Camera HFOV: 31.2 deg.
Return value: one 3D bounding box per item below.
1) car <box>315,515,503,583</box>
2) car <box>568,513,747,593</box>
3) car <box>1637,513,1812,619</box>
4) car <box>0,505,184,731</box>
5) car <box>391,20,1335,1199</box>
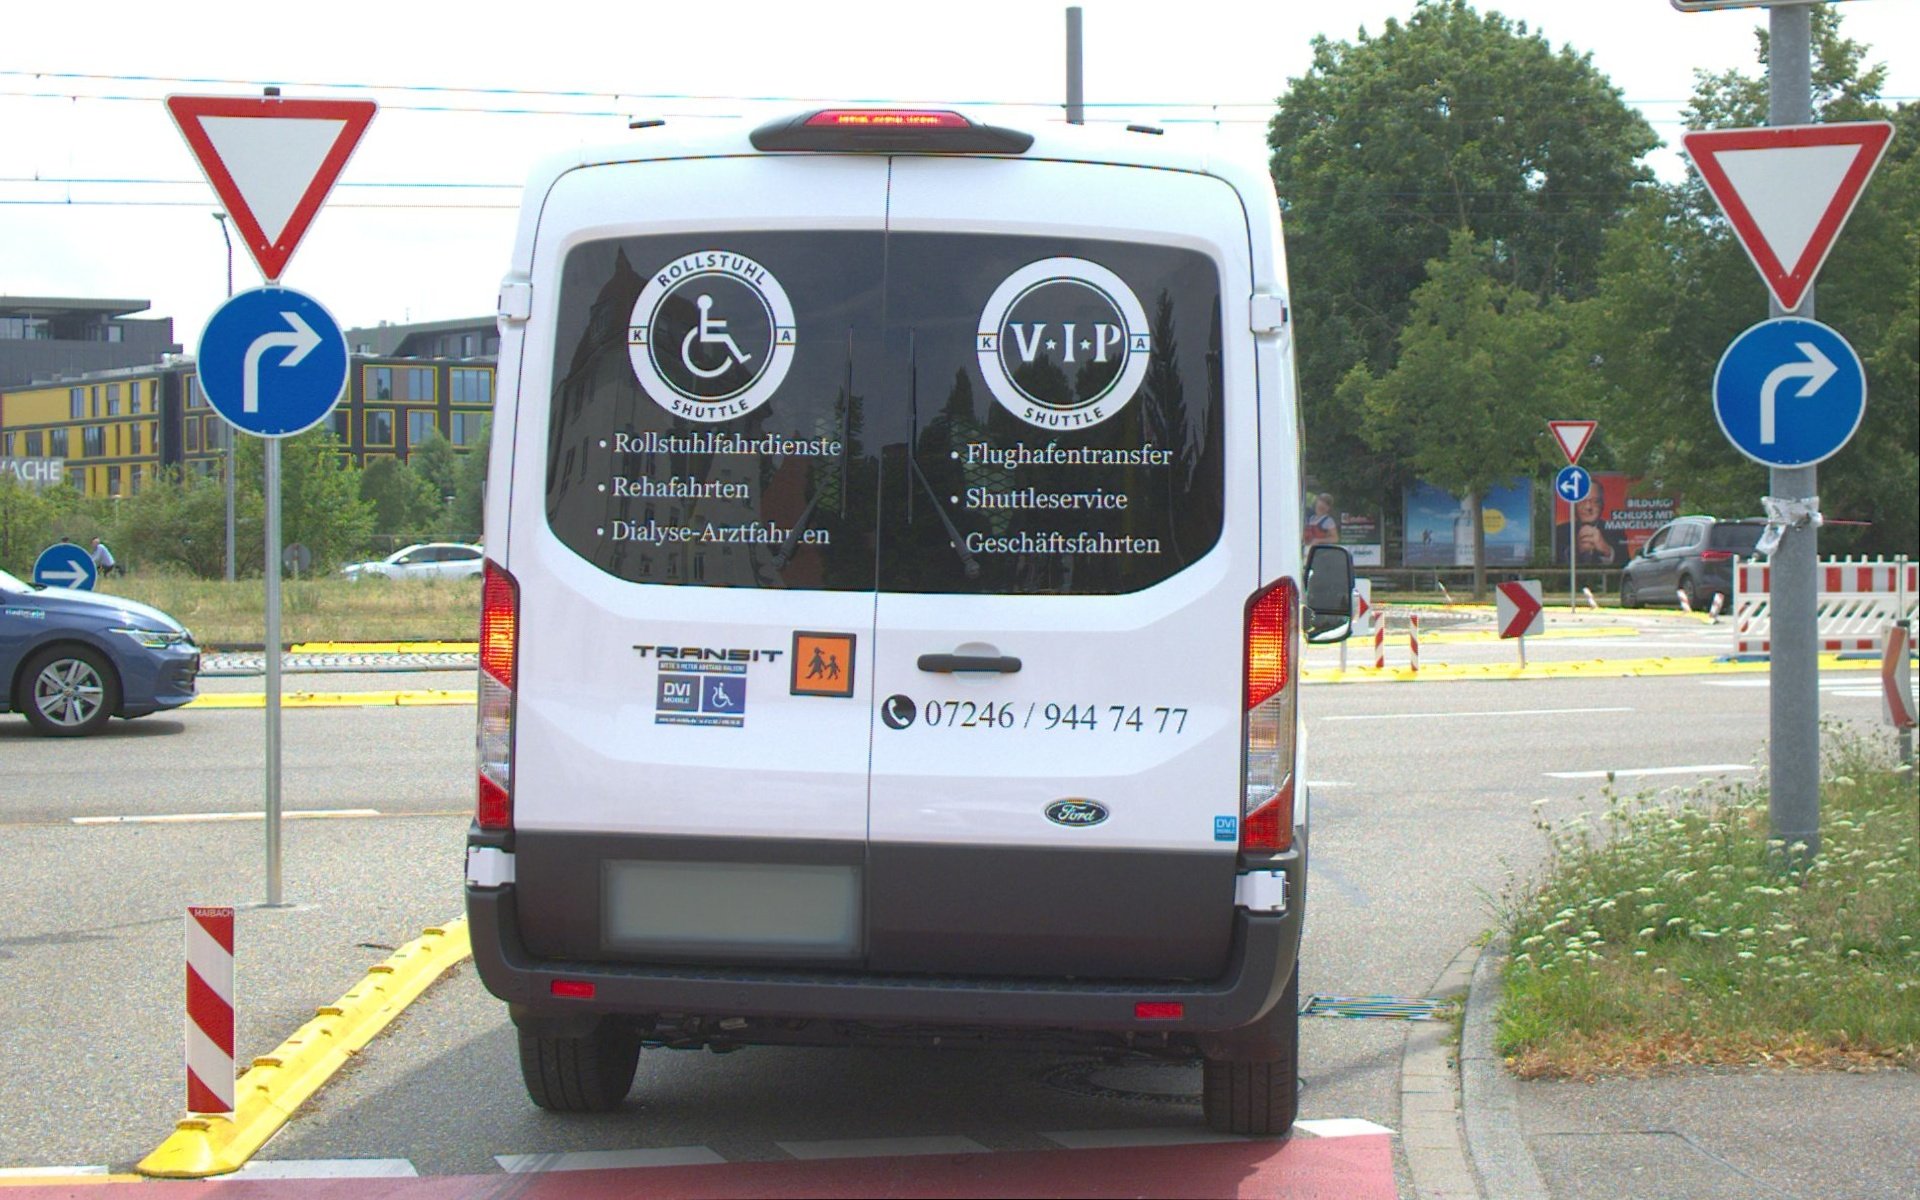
[{"bbox_3d":[-13.766,-1.263,85.845,4.340,1.660,1.939,0,1,-21],"label":"car"},{"bbox_3d":[-8.032,-1.234,91.066,4.346,2.007,2.001,1,0,-19],"label":"car"},{"bbox_3d":[12.967,-0.556,58.546,1.993,1.744,4.000,0,0,-1],"label":"car"},{"bbox_3d":[-7.385,0.103,23.343,4.102,1.492,1.802,0,1,-12],"label":"car"},{"bbox_3d":[0.051,0.020,10.496,2.127,2.688,5.631,0,1,6],"label":"car"}]
